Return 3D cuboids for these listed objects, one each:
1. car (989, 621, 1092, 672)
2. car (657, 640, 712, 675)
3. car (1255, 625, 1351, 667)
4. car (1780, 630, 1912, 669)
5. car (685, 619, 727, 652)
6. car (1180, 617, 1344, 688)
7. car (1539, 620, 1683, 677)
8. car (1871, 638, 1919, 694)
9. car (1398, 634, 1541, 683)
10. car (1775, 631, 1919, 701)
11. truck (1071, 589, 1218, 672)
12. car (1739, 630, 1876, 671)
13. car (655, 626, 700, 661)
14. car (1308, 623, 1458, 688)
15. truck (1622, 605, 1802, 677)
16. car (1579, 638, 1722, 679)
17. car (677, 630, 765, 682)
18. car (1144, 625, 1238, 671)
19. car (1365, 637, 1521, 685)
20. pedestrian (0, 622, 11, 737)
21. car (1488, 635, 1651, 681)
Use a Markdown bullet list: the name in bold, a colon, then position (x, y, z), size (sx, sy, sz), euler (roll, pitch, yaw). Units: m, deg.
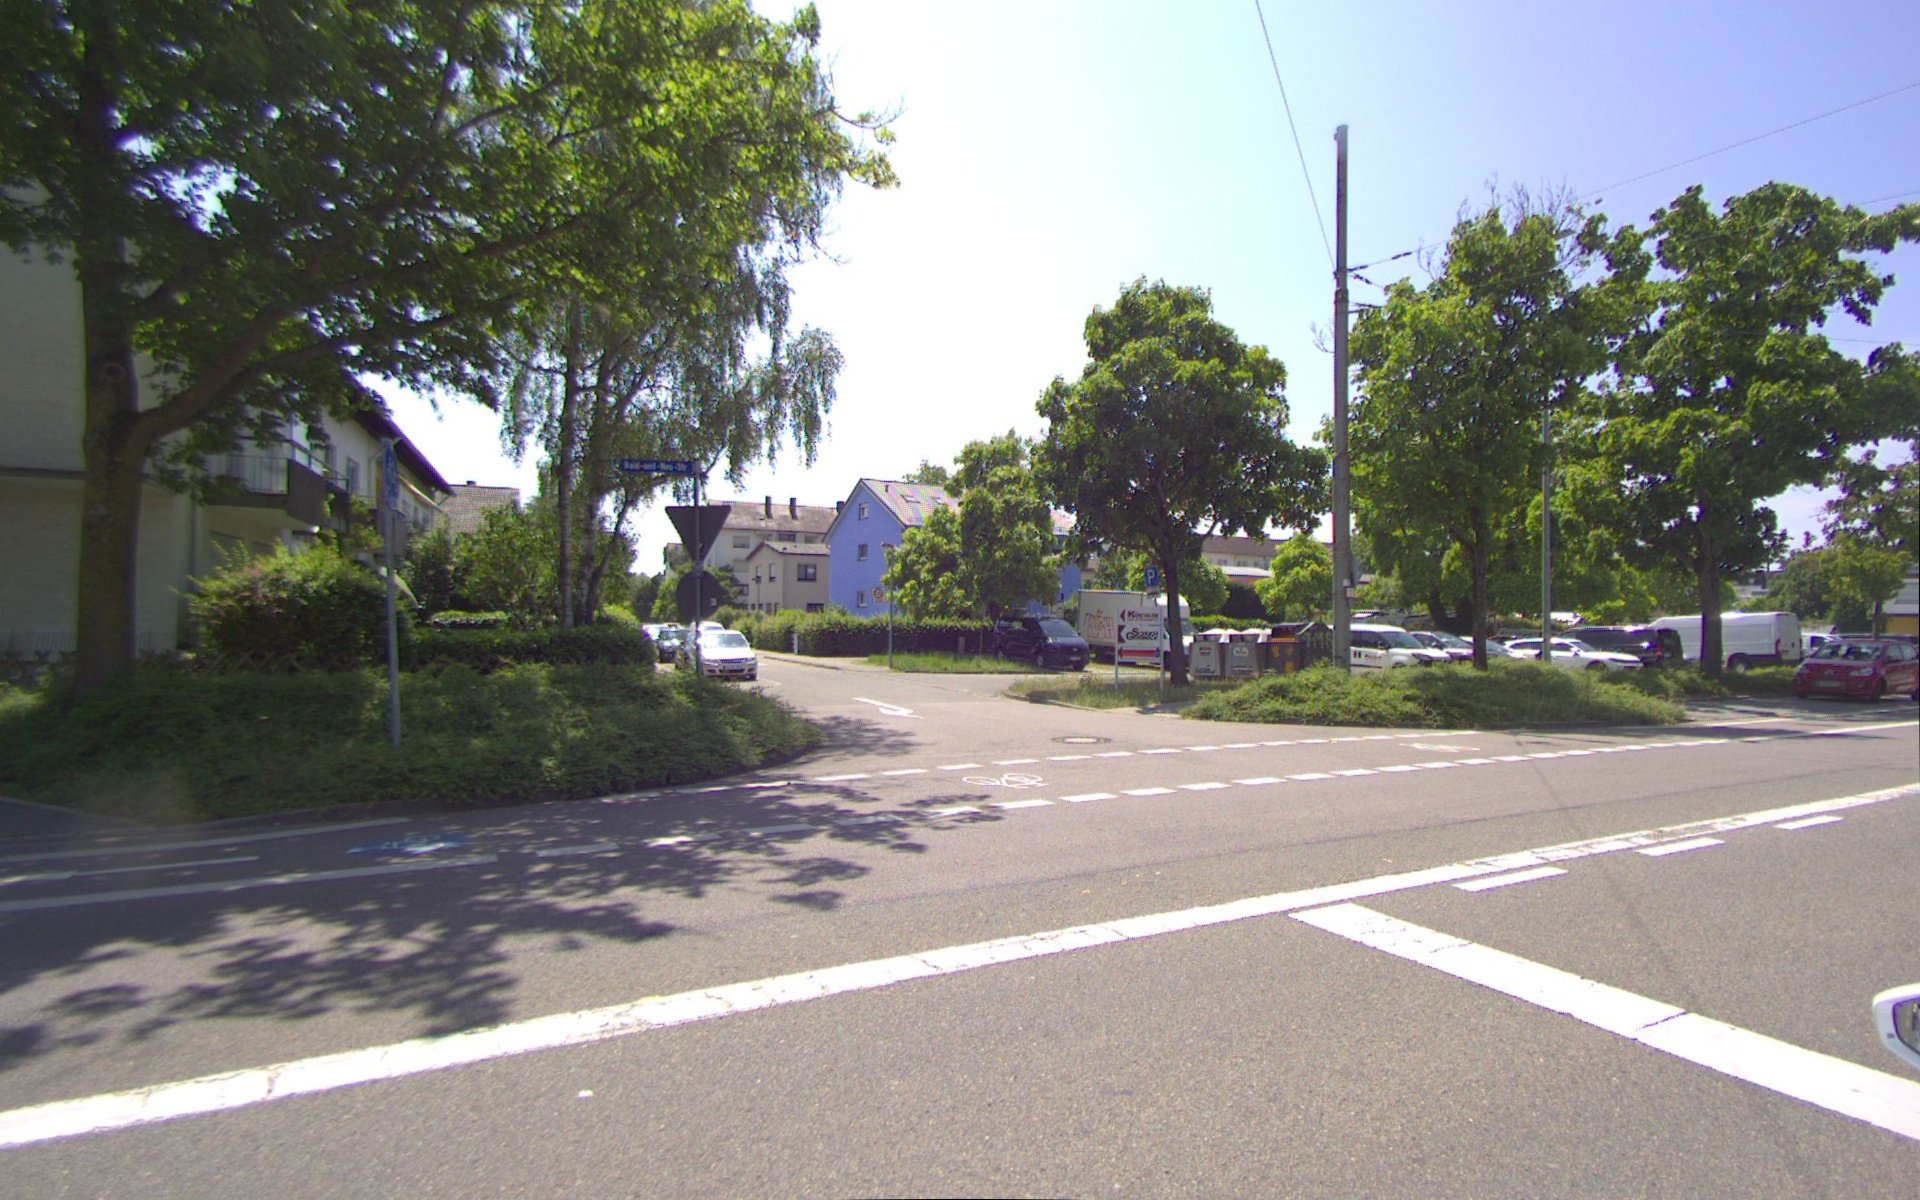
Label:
- **car**: position (3.136, 1.801, 40.115), size (1.915, 1.844, 4.689), euler (1, -1, -27)
- **car**: position (-9.482, 1.936, 34.425), size (1.522, 1.005, 3.732), euler (1, -1, -20)
- **car**: position (16.462, 2.185, 48.351), size (1.948, 1.844, 4.107), euler (2, -1, -30)
- **car**: position (44.318, 2.439, 50.361), size (1.776, 1.837, 4.695), euler (1, -2, -31)
- **car**: position (-13.762, 1.896, 54.256), size (1.715, 1.729, 4.216), euler (1, -2, -21)
- **car**: position (8.690, 1.475, 29.283), size (2.037, 1.881, 4.426), euler (1, -2, -30)
- **car**: position (24.464, 1.789, 37.899), size (1.835, 2.021, 4.188), euler (1, -2, -31)
- **car**: position (27.369, 1.819, 27.896), size (4.714, 1.446, 1.711), euler (2, -1, -30)
- **car**: position (17.514, 1.975, 34.731), size (1.907, 1.528, 4.107), euler (1, -2, -27)
- **car**: position (21.926, 1.597, 24.653), size (3.680, 1.566, 1.665), euler (2, -1, -28)
- **truck**: position (7.758, 1.227, 43.162), size (2.126, 3.270, 6.941), euler (1, -1, -31)
- **car**: position (40.316, 2.378, 47.902), size (1.776, 1.837, 4.695), euler (1, -2, -31)
- **car**: position (-12.099, 1.832, 42.893), size (1.523, 1.412, 3.889), euler (1, -2, -21)
- **car**: position (13.031, 1.659, 31.199), size (1.652, 1.860, 4.251), euler (1, -2, -27)
- **truck**: position (31.279, 1.678, 41.982), size (2.402, 2.796, 5.555), euler (1, -2, -28)
- **car**: position (26.582, 2.216, 38.791), size (1.835, 1.429, 4.188), euler (2, -2, -31)
- **car**: position (-7.164, 1.631, 29.881), size (1.527, 1.412, 3.877), euler (1, -2, -30)
- **car**: position (10.019, 2.033, 43.818), size (1.628, 1.844, 4.107), euler (1, -1, -30)
- **car**: position (15.661, 1.942, 32.772), size (2.059, 1.422, 4.171), euler (2, -2, -34)
- **pedestrian**: position (-13.008, 1.054, 13.133), size (0.599, 1.530, 0.792), euler (1, -1, -23)
- **car**: position (22.246, 2.086, 36.866), size (2.035, 1.508, 4.737), euler (2, -2, -31)
